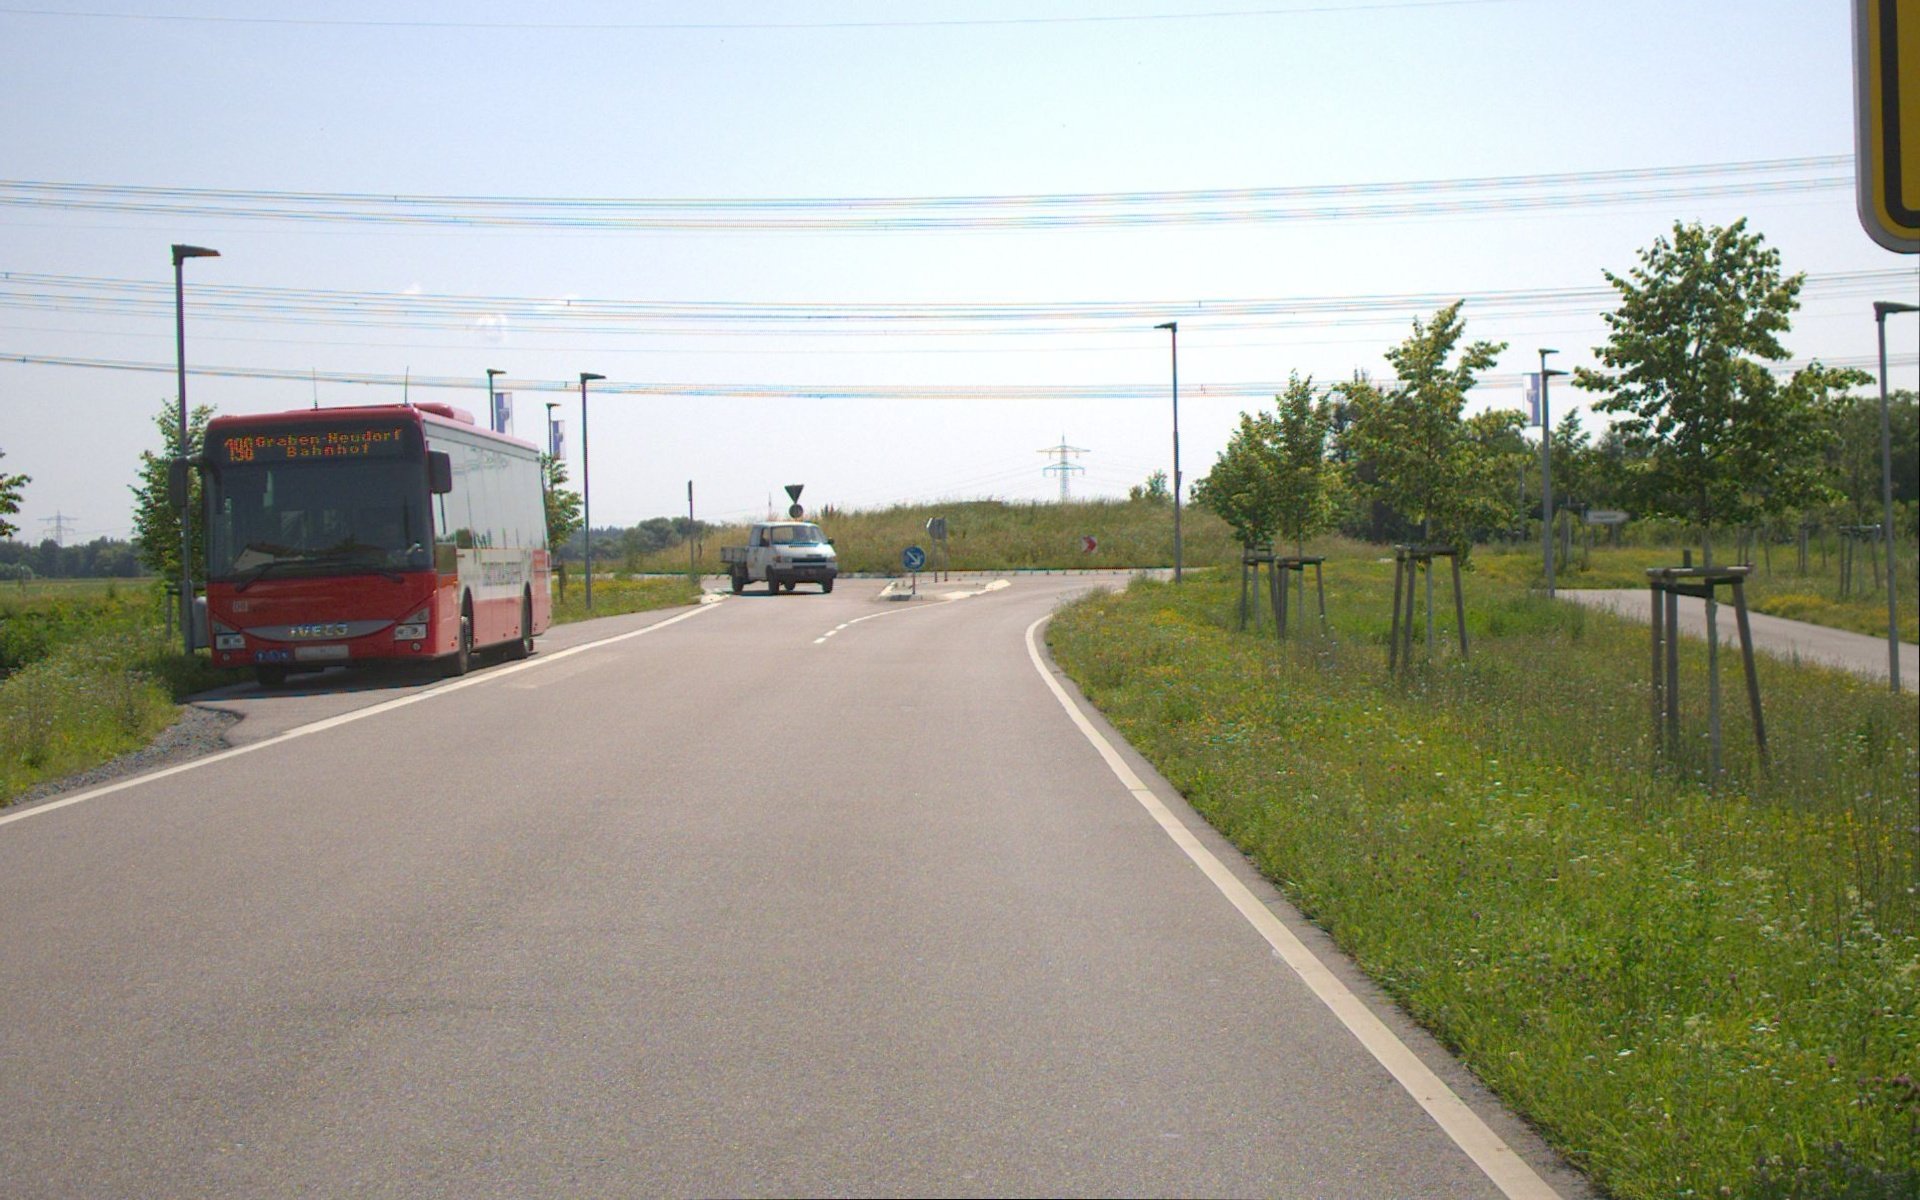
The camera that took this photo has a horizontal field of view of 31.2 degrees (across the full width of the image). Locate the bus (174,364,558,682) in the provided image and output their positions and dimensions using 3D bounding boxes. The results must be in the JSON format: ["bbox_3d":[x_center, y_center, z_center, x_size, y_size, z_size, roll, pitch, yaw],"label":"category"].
[{"bbox_3d":[-7.029,-0.881,42.664,2.794,3.276,12.230,-2,1,-1],"label":"bus"}]

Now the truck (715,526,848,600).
[{"bbox_3d":[-5.028,-1.044,96.113,1.951,1.978,5.645,1,1,-22],"label":"truck"}]
